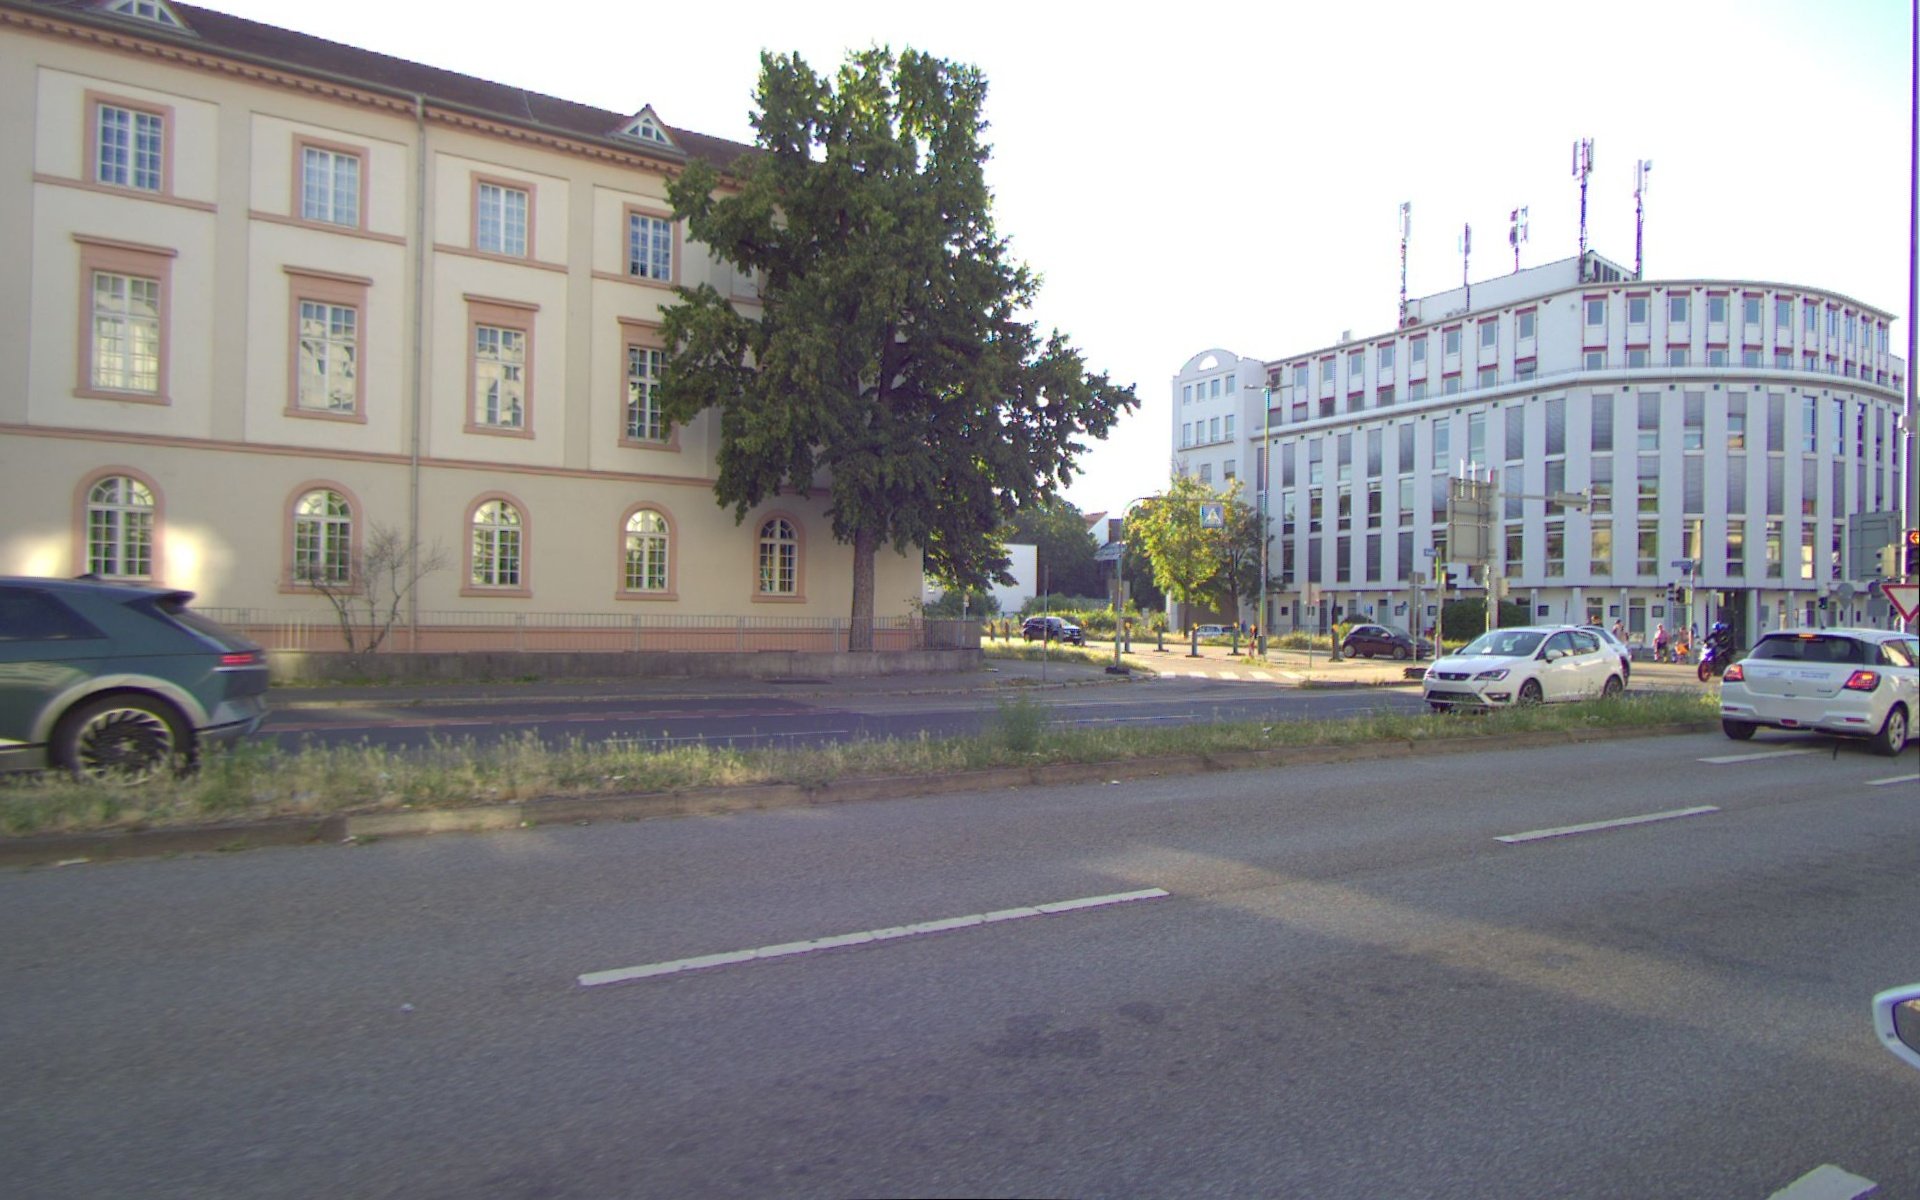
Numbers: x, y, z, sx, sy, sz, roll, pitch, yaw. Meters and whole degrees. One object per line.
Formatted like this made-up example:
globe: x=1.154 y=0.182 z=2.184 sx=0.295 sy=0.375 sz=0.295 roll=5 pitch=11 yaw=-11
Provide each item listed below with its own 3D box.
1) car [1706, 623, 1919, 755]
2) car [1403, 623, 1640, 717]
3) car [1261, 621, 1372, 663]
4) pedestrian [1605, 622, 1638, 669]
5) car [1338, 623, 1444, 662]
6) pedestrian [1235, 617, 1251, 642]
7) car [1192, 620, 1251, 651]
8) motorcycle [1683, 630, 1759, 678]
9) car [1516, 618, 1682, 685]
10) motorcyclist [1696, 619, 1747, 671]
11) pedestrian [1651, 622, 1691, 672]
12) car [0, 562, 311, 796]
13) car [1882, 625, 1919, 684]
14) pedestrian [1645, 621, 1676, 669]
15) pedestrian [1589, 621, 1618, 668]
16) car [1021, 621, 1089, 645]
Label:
car: x=11.777 y=1.080 z=13.211 sx=3.951 sy=1.476 sz=1.677 roll=1 pitch=0 yaw=-29
car: x=9.567 y=1.128 z=17.046 sx=4.132 sy=1.411 sz=1.677 roll=1 pitch=-1 yaw=-30
car: x=14.952 y=1.750 z=42.400 sx=1.973 sy=1.650 sz=4.333 roll=1 pitch=-1 yaw=-25
pedestrian: x=26.678 y=1.830 z=40.525 sx=0.803 sy=1.866 sz=0.760 roll=1 pitch=-1 yaw=-7
car: x=18.230 y=1.810 z=42.627 sx=1.843 sy=1.550 sz=3.788 roll=4 pitch=-4 yaw=-32
pedestrian: x=20.303 y=2.101 z=72.056 sx=0.901 sy=1.816 sz=0.671 roll=0 pitch=-1 yaw=43
car: x=17.959 y=2.437 z=68.936 sx=3.796 sy=1.756 sz=1.776 roll=1 pitch=-9 yaw=19
motorcycle: x=21.664 y=1.536 z=28.571 sx=2.811 sy=1.301 sz=0.766 roll=2 pitch=-1 yaw=-32
car: x=15.783 y=1.229 z=24.743 sx=4.463 sy=1.518 sz=1.676 roll=1 pitch=-1 yaw=-32
motorcyclist: x=21.657 y=1.267 z=28.554 sx=1.224 sy=1.438 sz=0.766 roll=2 pitch=-1 yaw=-32
pedestrian: x=27.479 y=1.817 z=38.835 sx=1.105 sy=1.893 sz=0.628 roll=1 pitch=-1 yaw=-2
car: x=-7.704 y=0.528 z=7.335 sx=4.842 sy=1.599 sz=1.984 roll=2 pitch=-1 yaw=-31
car: x=26.478 y=1.446 z=26.867 sx=3.955 sy=1.514 sz=1.649 roll=2 pitch=-1 yaw=-31
pedestrian: x=27.725 y=1.778 z=39.783 sx=0.765 sy=1.893 sz=0.661 roll=1 pitch=-1 yaw=-11
pedestrian: x=26.453 y=1.816 z=41.301 sx=0.763 sy=1.883 sz=0.662 roll=1 pitch=-1 yaw=0
car: x=5.657 y=1.967 z=60.029 sx=1.812 sy=1.372 sz=3.955 roll=2 pitch=-1 yaw=-39
